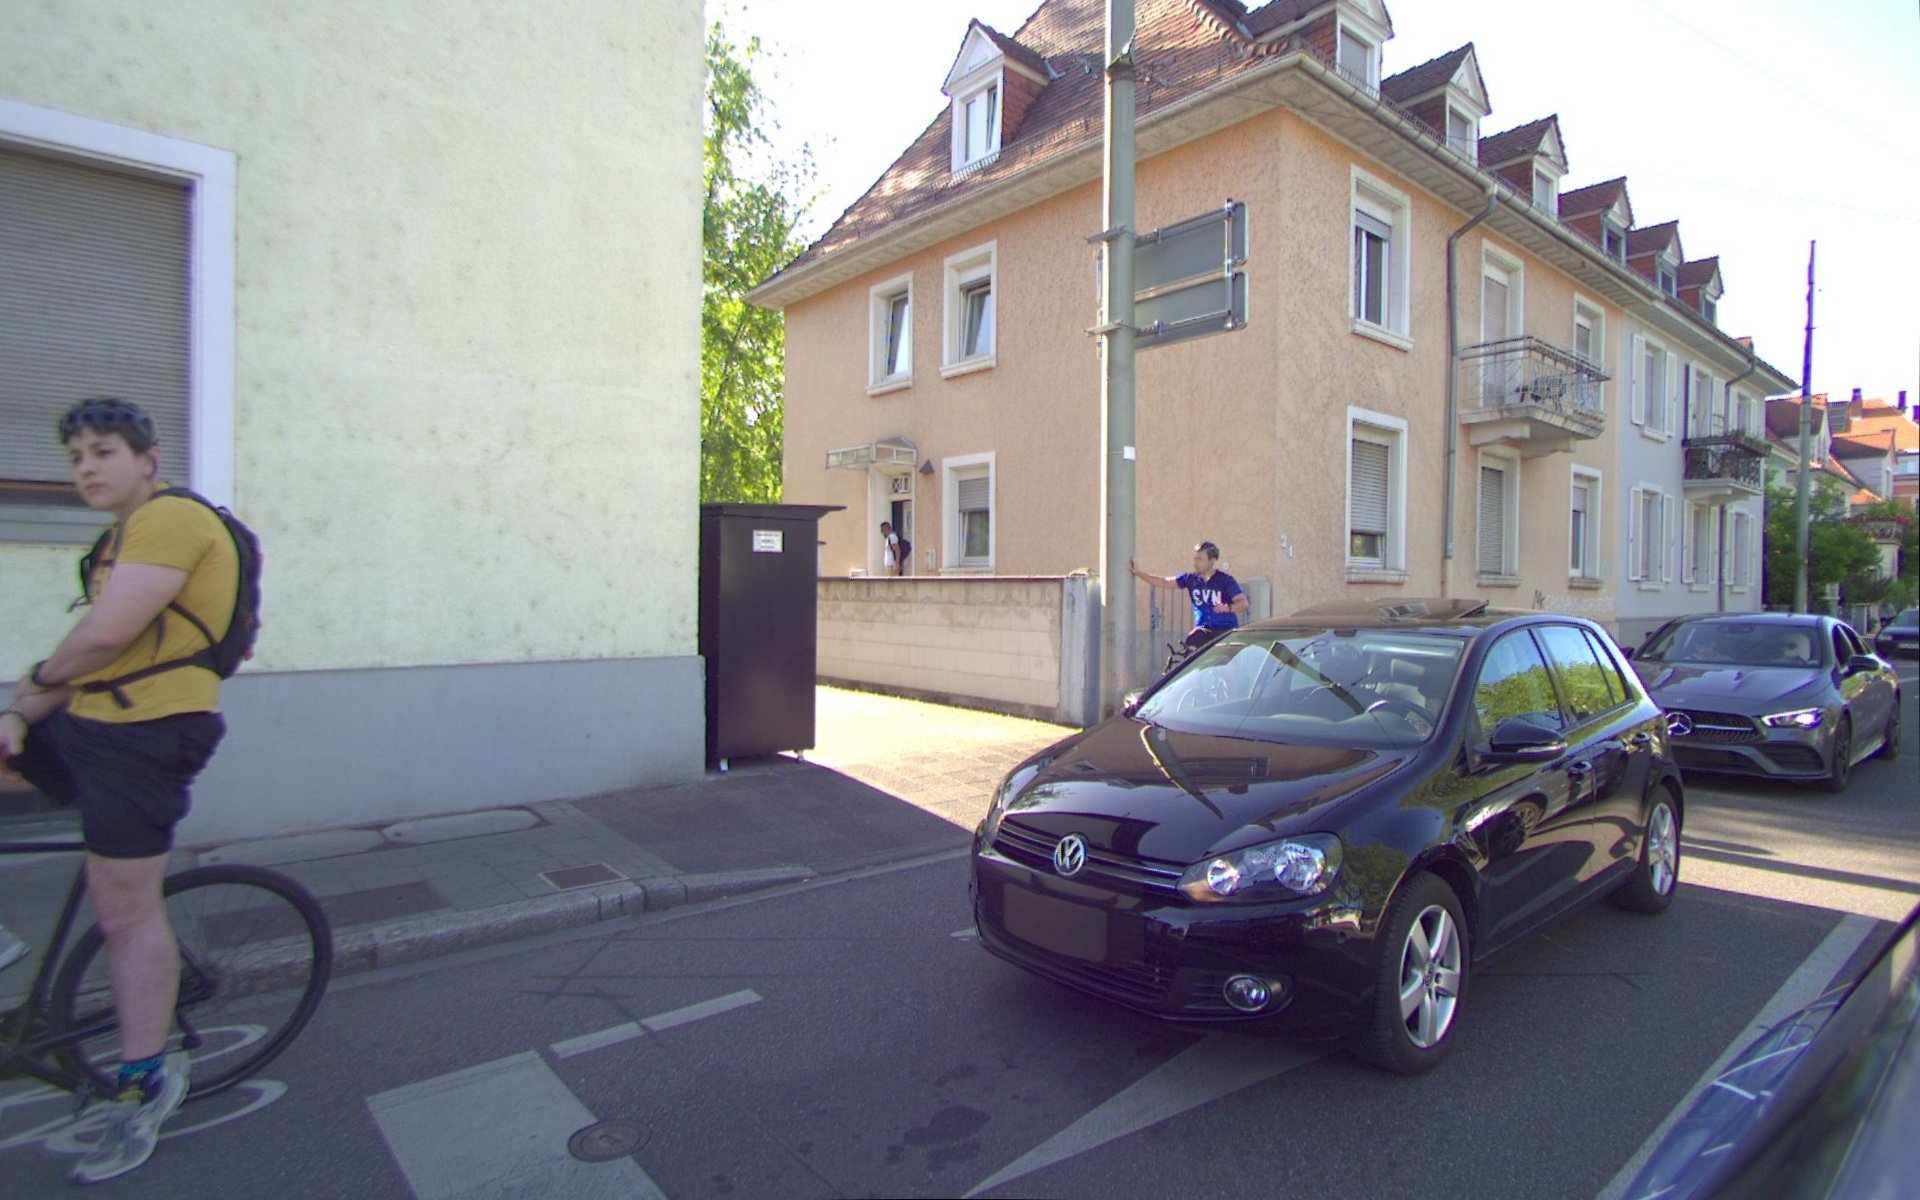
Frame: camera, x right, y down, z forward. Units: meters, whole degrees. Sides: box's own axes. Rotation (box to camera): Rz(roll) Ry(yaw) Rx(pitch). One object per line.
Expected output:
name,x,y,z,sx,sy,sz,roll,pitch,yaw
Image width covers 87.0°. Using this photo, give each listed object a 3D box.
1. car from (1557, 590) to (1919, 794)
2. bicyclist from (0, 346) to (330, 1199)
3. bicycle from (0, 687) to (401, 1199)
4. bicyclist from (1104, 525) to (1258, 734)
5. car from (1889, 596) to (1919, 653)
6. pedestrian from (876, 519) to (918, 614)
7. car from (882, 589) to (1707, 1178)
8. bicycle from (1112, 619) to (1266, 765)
car,7.365,0.681,9.365,4.410,1.449,1.824,1,0,-40
bicyclist,-2.296,0.424,2.733,0.777,1.991,0.768,0,0,36
bicycle,-2.492,0.866,2.567,0.777,1.120,1.720,0,0,36
bicyclist,1.968,0.221,9.050,1.018,1.714,0.718,6,4,42
car,26.764,0.631,27.430,4.258,1.448,1.824,-1,0,-40
pedestrian,-1.141,-0.616,18.120,0.598,1.624,0.763,3,5,-8
car,1.736,0.689,4.472,3.921,1.456,1.716,-1,0,-41
bicycle,2.042,0.756,8.899,0.554,1.088,1.601,6,4,42
